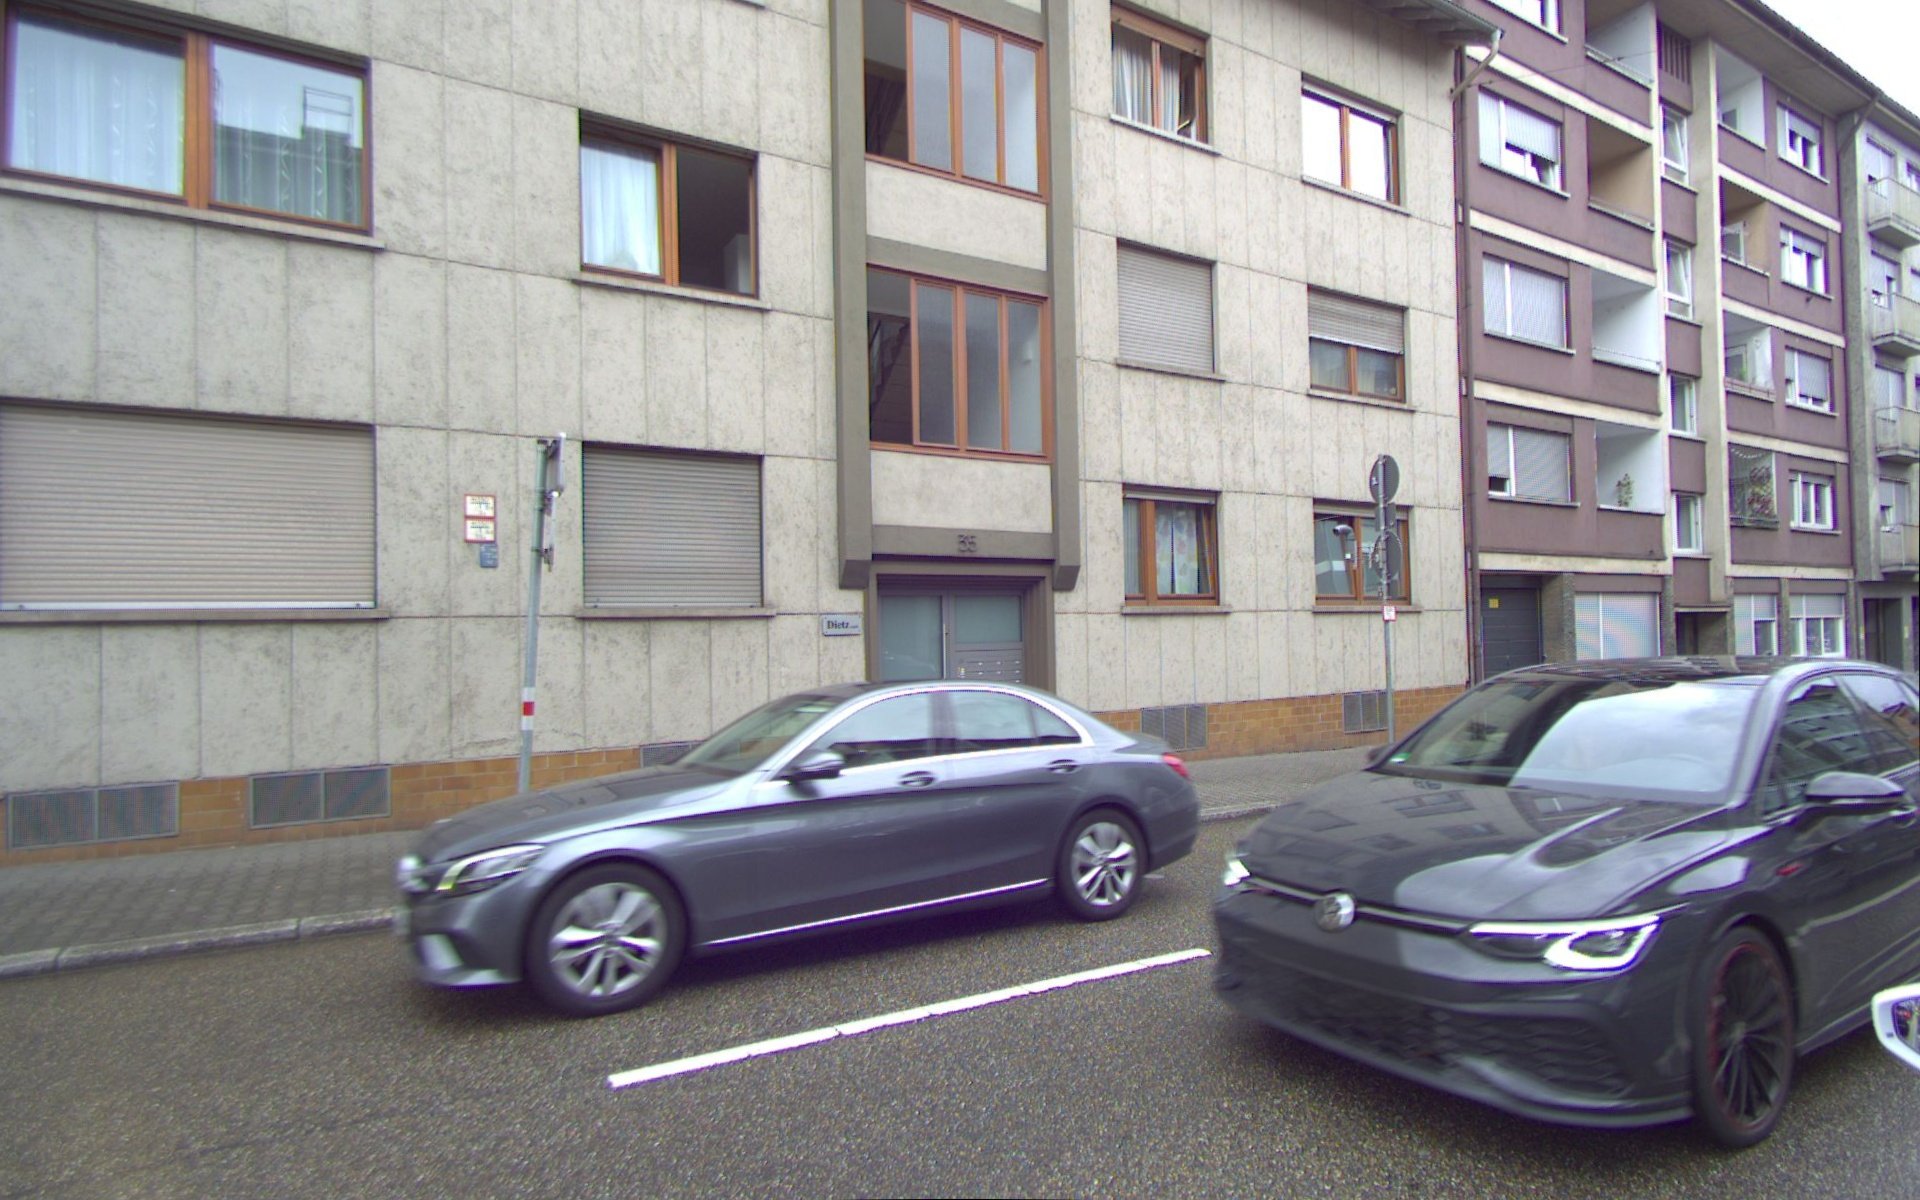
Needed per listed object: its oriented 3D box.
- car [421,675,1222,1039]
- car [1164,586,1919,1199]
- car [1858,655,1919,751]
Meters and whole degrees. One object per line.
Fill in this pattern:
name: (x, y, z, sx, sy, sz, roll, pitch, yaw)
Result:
car: (-0.645, 1.166, 5.869, 4.318, 1.388, 1.686, 2, -5, -32)
car: (3.030, 0.894, 4.373, 4.170, 1.601, 1.687, 2, -5, -32)
car: (15.877, 1.539, 15.632, 4.313, 1.388, 1.591, 2, -5, -31)
